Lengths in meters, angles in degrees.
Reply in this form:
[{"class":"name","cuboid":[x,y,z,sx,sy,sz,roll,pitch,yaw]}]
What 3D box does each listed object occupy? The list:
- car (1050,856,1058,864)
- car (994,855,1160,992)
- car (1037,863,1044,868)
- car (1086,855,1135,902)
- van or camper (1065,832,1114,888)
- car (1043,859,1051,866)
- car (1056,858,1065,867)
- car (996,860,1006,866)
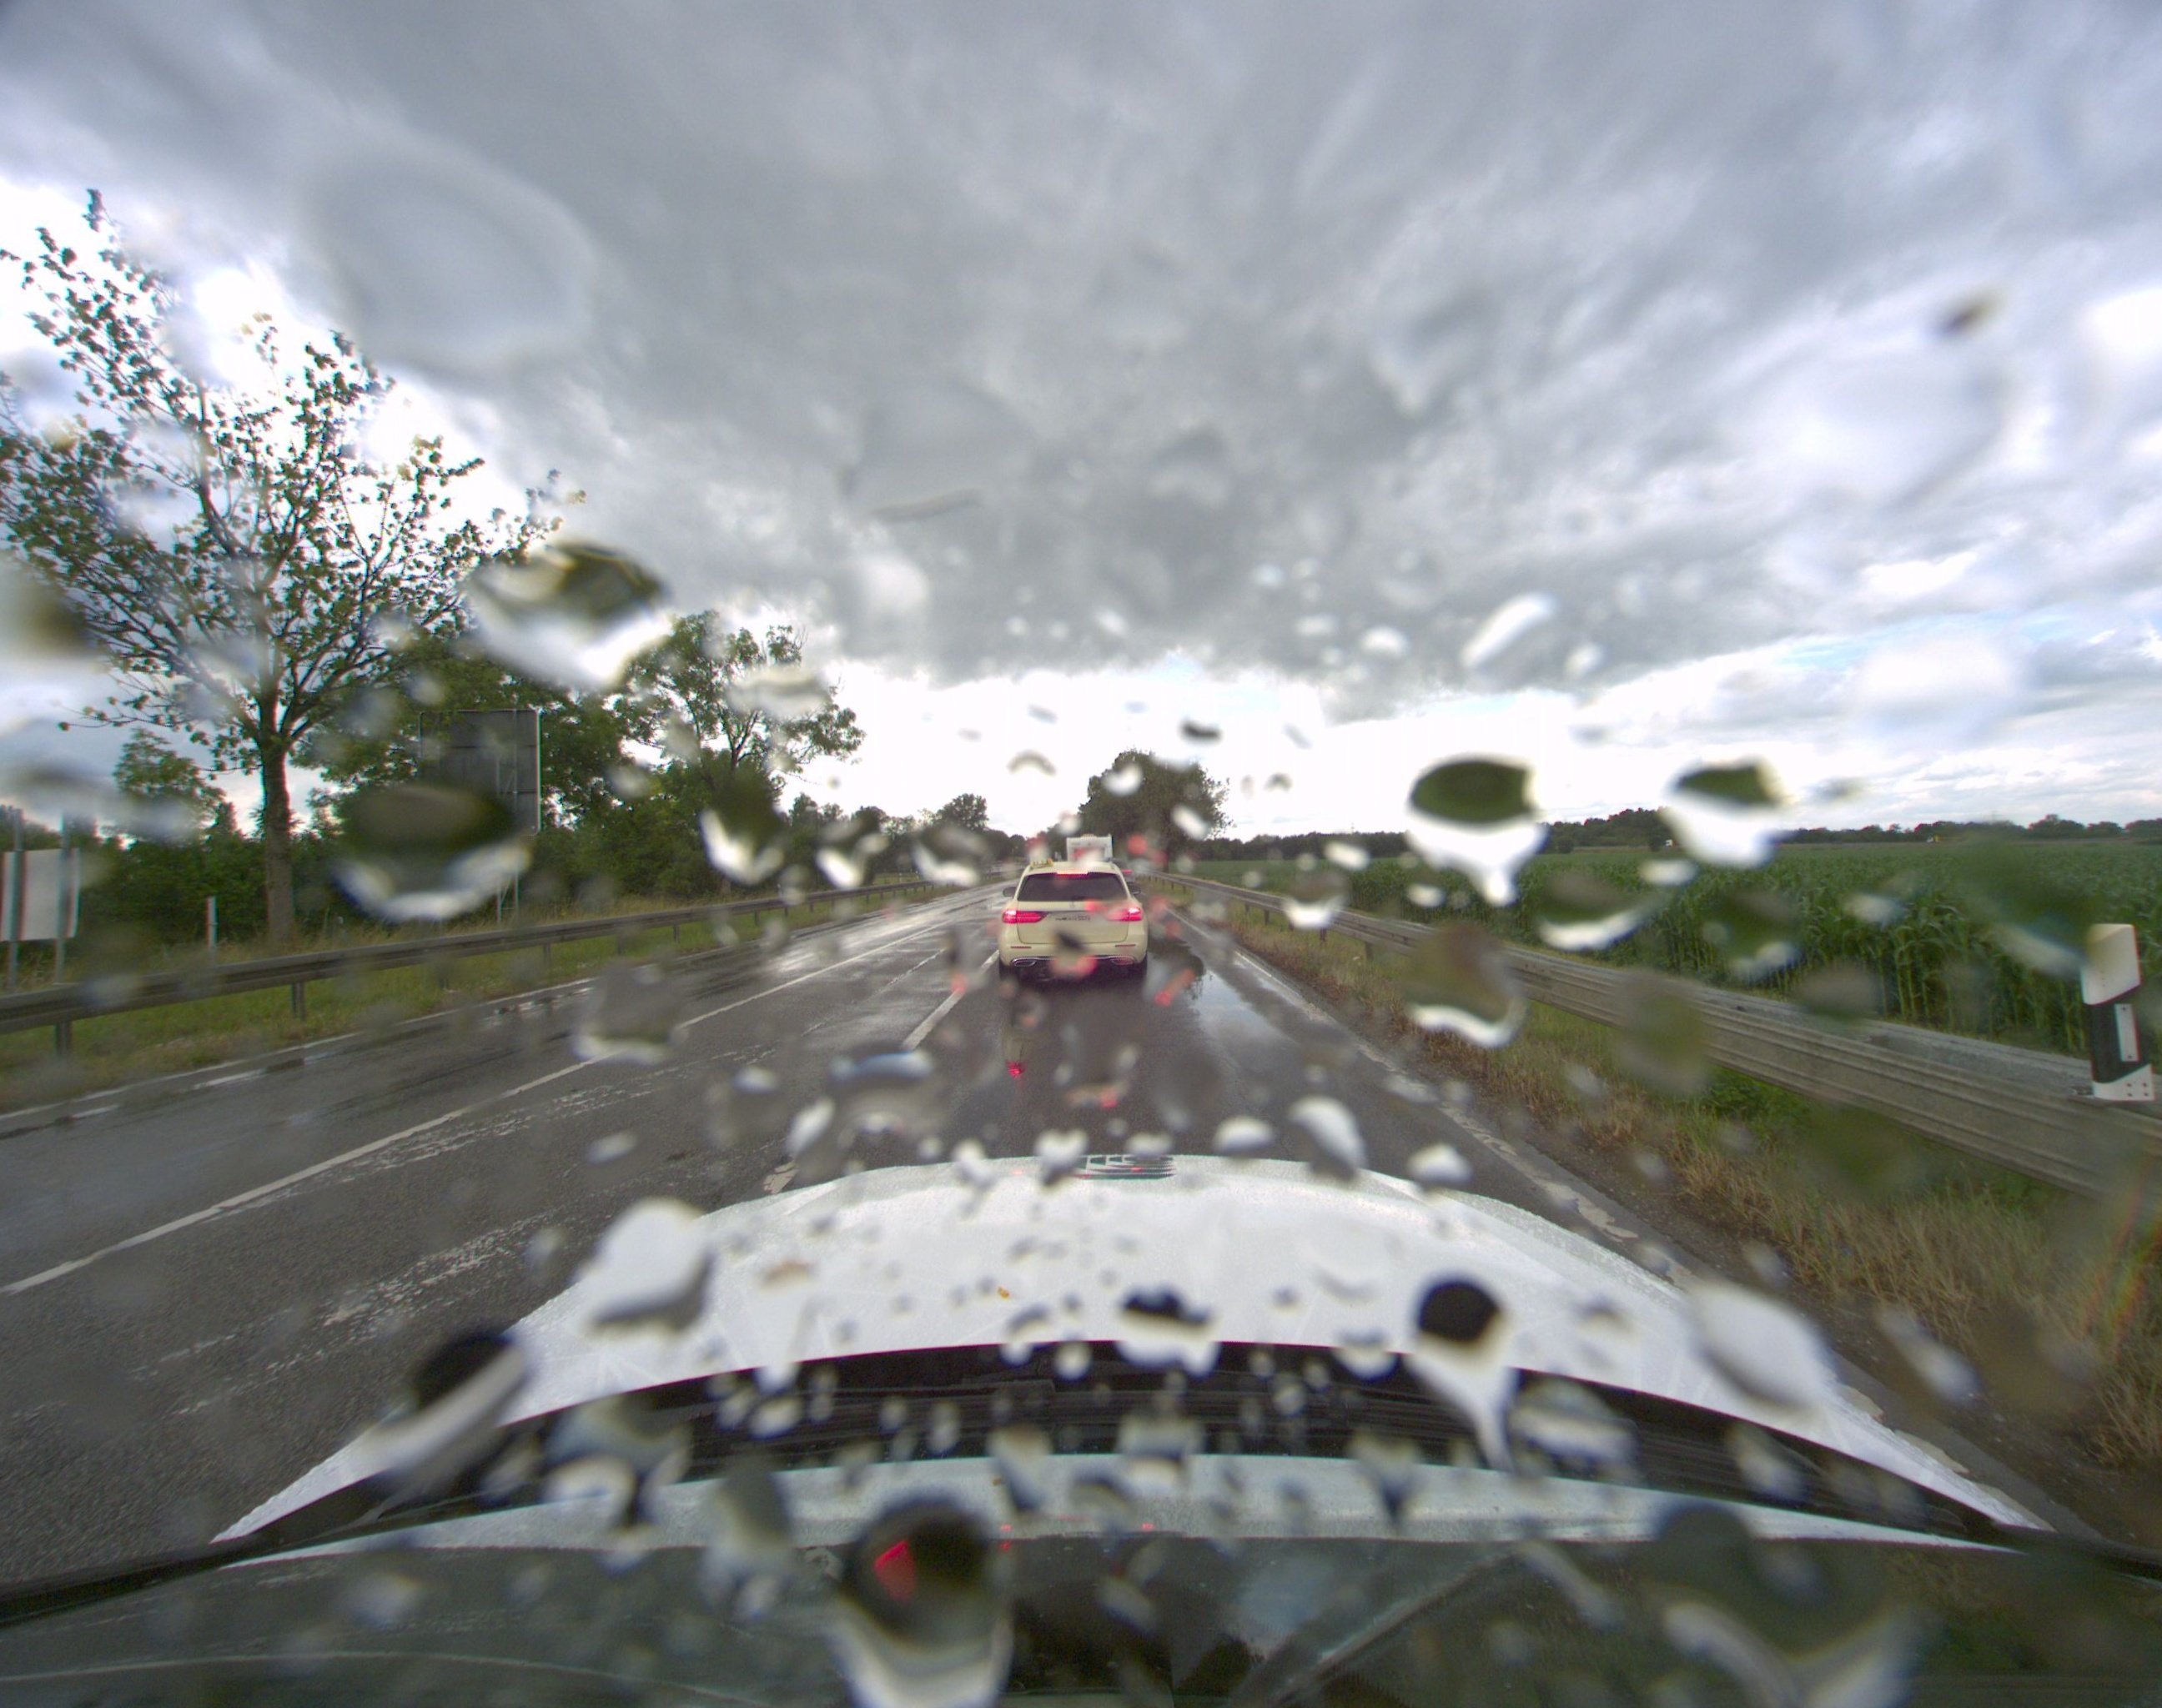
[{"class":"car","cuboid":[-6.826,1.434,208.158,1.988,2.014,3.998,-1,0,-1]},{"class":"car","cuboid":[0.037,0.790,11.158,1.818,1.485,4.147,-1,0,2]},{"class":"car","cuboid":[-11.079,3.051,222.638,1.752,1.269,4.001,-2,0,1]},{"class":"car","cuboid":[1.033,0.816,29.180,1.621,1.529,3.933,-2,0,1]},{"class":"van or camper","cuboid":[0.502,0.296,43.017,2.342,2.680,5.770,-1,0,1]},{"class":"car","cuboid":[-10.177,2.461,243.801,1.990,2.013,3.994,-1,0,-4]},{"class":"car","cuboid":[-4.887,2.097,195.742,1.987,2.051,4.000,-1,0,0]},{"class":"car","cuboid":[-21.091,2.413,214.948,1.985,1.651,4.002,-1,0,2]}]
